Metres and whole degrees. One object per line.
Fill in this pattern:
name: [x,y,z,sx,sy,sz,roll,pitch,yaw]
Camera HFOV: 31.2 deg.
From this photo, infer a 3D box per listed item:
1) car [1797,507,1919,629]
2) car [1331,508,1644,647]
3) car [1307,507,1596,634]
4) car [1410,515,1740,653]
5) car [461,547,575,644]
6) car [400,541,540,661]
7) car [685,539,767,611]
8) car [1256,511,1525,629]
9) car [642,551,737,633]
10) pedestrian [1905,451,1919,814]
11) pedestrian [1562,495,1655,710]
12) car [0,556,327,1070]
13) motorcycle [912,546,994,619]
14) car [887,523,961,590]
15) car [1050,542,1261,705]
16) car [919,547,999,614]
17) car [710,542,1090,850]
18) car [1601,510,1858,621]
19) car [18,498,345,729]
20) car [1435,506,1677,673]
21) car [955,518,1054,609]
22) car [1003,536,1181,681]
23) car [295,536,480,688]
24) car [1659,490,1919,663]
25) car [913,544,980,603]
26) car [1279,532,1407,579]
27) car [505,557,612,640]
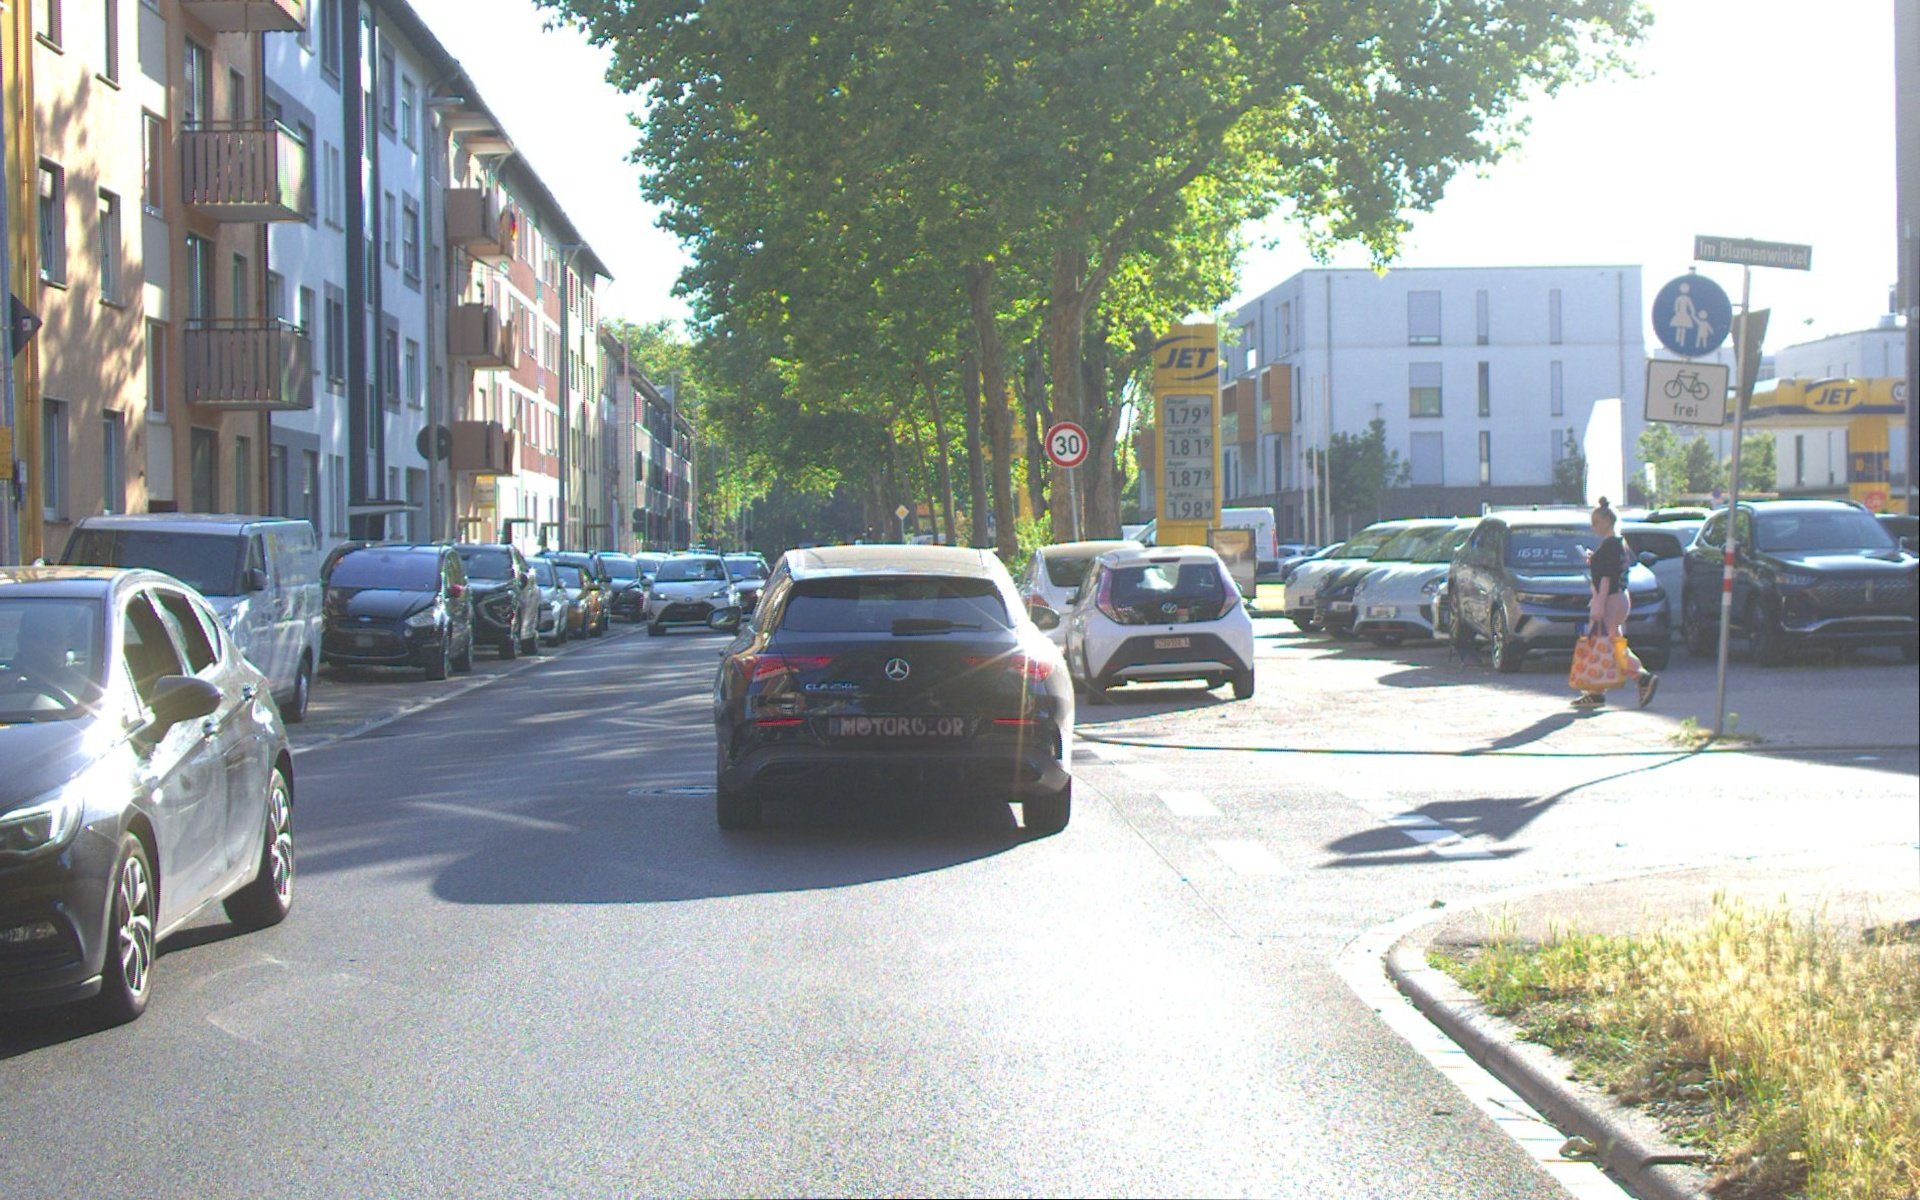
car: [12.973,-0.469,45.387,3.808,1.505,1.643,-3,2,-37]
car: [6.746,-0.311,43.850,3.808,1.604,1.741,-3,2,-37]
car: [6.750,-0.423,47.037,3.808,1.573,1.741,-3,2,-39]
car: [7.397,-0.217,41.243,3.807,1.540,1.662,-2,1,-35]
car: [-7.344,-0.103,57.349,1.547,1.518,4.005,1,1,-3]
car: [-7.105,-0.023,50.177,1.596,1.635,4.413,1,1,-3]
car: [-5.318,-0.592,78.558,1.663,1.518,4.412,-2,1,-2]
car: [6.368,-0.457,50.711,3.808,1.573,1.746,-3,2,-39]
car: [-5.217,-0.182,66.646,1.639,1.518,3.934,0,1,-2]
pedestrian: [4.555,0.227,14.531,0.767,1.755,0.664,-3,1,-23]
pedestrian: [5.266,0.016,27.909,0.692,1.717,0.721,-1,1,12]
car: [-3.511,0.609,12.147,1.771,1.473,4.322,-1,1,-1]
motorcycle: [-0.146,-0.384,74.609,1.641,1.552,0.612,1,0,-23]
car: [-1.153,-1.345,107.119,1.993,2.007,4.000,0,0,-5]
car: [1.888,0.212,34.320,1.635,1.463,4.021,-2,0,-3]
car: [-0.048,-0.466,81.842,1.722,1.552,3.601,1,0,-3]
car: [-0.214,0.424,18.375,1.744,1.438,3.969,1,1,3]
car: [11.579,-0.537,51.634,3.808,1.505,1.643,-3,2,-37]
car: [-6.871,0.065,30.909,1.734,1.900,5.209,0,1,0]
car: [6.358,-0.144,37.064,1.752,1.664,4.158,-1,1,-2]
car: [0.789,-0.657,62.864,1.559,1.590,3.601,1,0,-3]
car: [1.519,0.075,41.163,1.810,1.533,4.583,-3,0,-1]
car: [-7.093,0.099,42.979,1.745,1.781,4.550,1,1,-3]
car: [9.054,-0.281,37.183,1.825,1.726,4.369,-1,1,-4]
car: [-0.388,-0.729,93.897,1.633,1.552,3.601,1,0,-3]
car: [12.806,-1.484,115.112,3.986,1.524,1.807,0,0,-3]
car: [-7.383,-0.048,63.540,1.596,1.429,4.217,1,1,-2]
